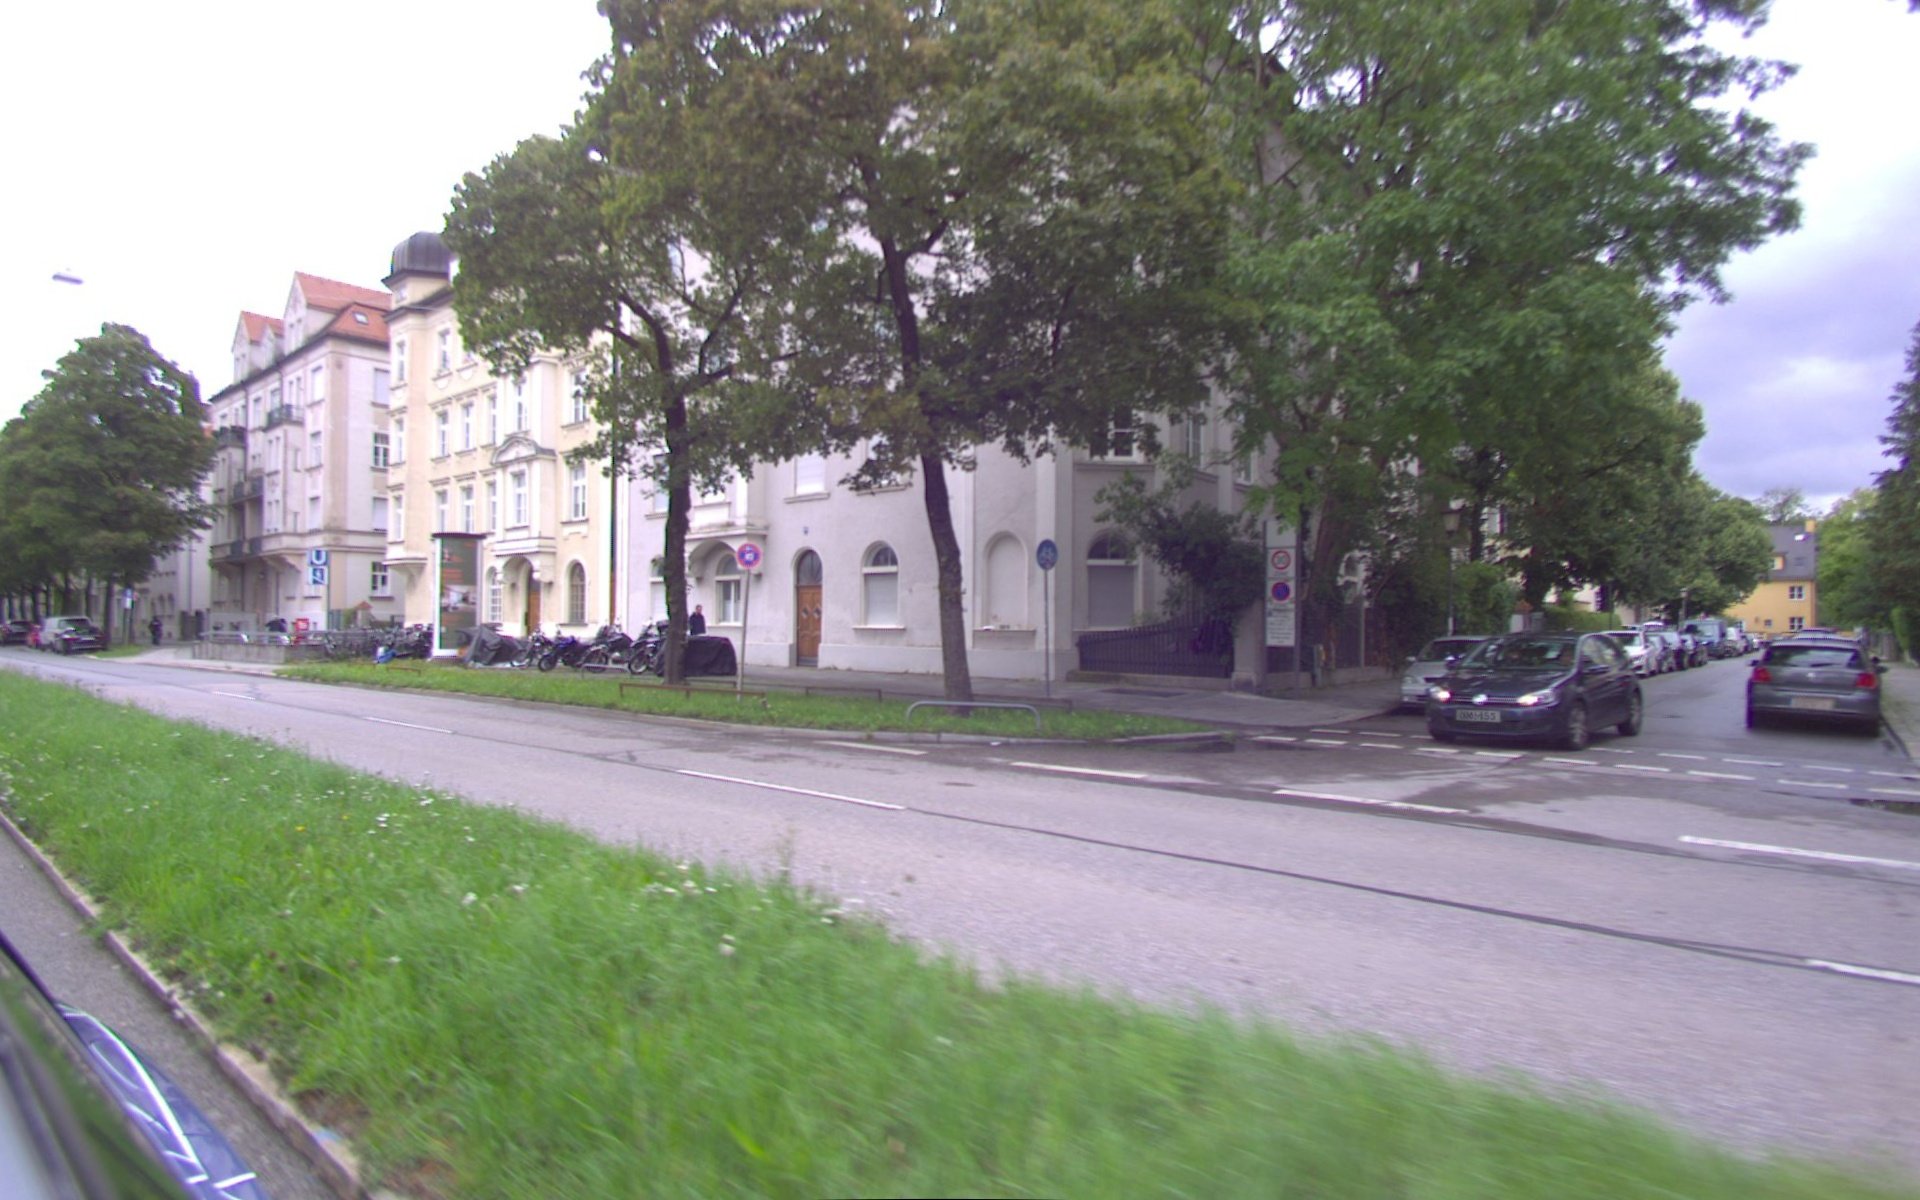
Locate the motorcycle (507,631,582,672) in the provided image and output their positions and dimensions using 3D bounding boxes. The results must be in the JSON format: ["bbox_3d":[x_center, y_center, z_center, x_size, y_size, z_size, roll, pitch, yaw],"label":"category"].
[{"bbox_3d":[-11.926,1.472,29.077,1.926,1.158,0.597,0,-1,-11],"label":"motorcycle"}]

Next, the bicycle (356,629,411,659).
[{"bbox_3d":[-23.352,1.780,41.048,1.924,1.158,0.598,0,-2,-29],"label":"bicycle"}]

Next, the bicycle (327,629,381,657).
[{"bbox_3d":[-25.497,1.804,42.596,1.924,1.158,0.598,0,-2,-29],"label":"bicycle"}]

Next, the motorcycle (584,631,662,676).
[{"bbox_3d":[-9.121,1.440,27.450,1.926,1.158,0.597,0,-1,-11],"label":"motorcycle"}]

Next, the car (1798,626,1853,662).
[{"bbox_3d":[37.272,1.872,43.645,1.653,1.461,3.481,-1,-2,39],"label":"car"}]

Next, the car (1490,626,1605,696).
[{"bbox_3d":[14.177,1.394,24.337,1.793,1.496,3.947,-1,-2,39],"label":"car"}]

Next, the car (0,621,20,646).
[{"bbox_3d":[-72.662,2.549,76.570,3.998,1.852,1.848,-1,-2,41],"label":"car"}]

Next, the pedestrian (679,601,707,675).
[{"bbox_3d":[-7.693,1.085,29.152,0.590,2.075,0.686,1,-2,-30],"label":"pedestrian"}]

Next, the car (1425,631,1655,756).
[{"bbox_3d":[7.917,1.143,13.660,1.861,1.386,3.944,-3,-3,42],"label":"car"}]

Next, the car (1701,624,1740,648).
[{"bbox_3d":[48.566,2.259,64.604,1.793,1.496,3.947,-1,-2,39],"label":"car"}]

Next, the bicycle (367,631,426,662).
[{"bbox_3d":[-21.509,1.763,38.659,1.924,1.158,0.598,0,-2,-29],"label":"bicycle"}]

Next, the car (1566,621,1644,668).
[{"bbox_3d":[22.337,1.491,34.988,1.793,1.496,3.947,-1,-2,39],"label":"car"}]

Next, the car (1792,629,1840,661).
[{"bbox_3d":[40.804,2.113,48.304,1.653,1.461,3.481,-1,-2,39],"label":"car"}]

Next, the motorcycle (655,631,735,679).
[{"bbox_3d":[-6.653,1.380,25.477,1.926,1.158,0.597,0,-1,-11],"label":"motorcycle"}]

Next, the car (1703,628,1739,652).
[{"bbox_3d":[51.295,2.682,68.170,1.793,1.496,3.947,-1,-2,39],"label":"car"}]

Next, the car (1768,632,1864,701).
[{"bbox_3d":[20.188,1.511,23.954,1.612,1.461,3.481,-1,-2,39],"label":"car"}]

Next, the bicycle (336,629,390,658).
[{"bbox_3d":[-24.819,1.799,42.102,1.924,1.158,0.598,0,-2,-29],"label":"bicycle"}]

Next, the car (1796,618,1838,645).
[{"bbox_3d":[46.626,1.700,55.111,1.653,1.461,3.481,-1,-2,39],"label":"car"}]

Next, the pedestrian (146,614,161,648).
[{"bbox_3d":[-47.948,1.838,60.161,0.631,2.058,0.739,1,-2,-38],"label":"pedestrian"}]

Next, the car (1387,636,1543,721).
[{"bbox_3d":[9.515,1.379,18.930,1.793,1.332,3.947,-1,-2,39],"label":"car"}]

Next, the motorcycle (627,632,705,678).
[{"bbox_3d":[-7.687,1.425,26.533,1.926,1.158,0.597,0,-1,-11],"label":"motorcycle"}]

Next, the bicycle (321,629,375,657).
[{"bbox_3d":[-26.098,1.813,43.192,1.924,1.158,0.598,0,-2,-29],"label":"bicycle"}]

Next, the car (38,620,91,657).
[{"bbox_3d":[-51.121,2.154,57.745,3.998,2.029,1.767,-1,-2,41],"label":"car"}]

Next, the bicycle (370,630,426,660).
[{"bbox_3d":[-22.151,1.765,39.913,1.924,1.158,0.598,0,-2,-29],"label":"bicycle"}]

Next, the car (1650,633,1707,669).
[{"bbox_3d":[31.753,2.217,44.674,1.793,1.496,3.947,-1,-2,39],"label":"car"}]

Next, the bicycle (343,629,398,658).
[{"bbox_3d":[-24.206,1.787,41.559,1.924,1.158,0.598,0,-2,-29],"label":"bicycle"}]

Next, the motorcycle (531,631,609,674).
[{"bbox_3d":[-10.828,1.460,28.144,1.926,1.158,0.597,0,-1,-11],"label":"motorcycle"}]

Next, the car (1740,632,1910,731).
[{"bbox_3d":[14.016,1.232,16.534,1.910,1.382,3.660,-1,-2,39],"label":"car"}]

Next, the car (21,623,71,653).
[{"bbox_3d":[-57.632,2.366,63.805,3.998,1.852,1.848,-1,-2,41],"label":"car"}]

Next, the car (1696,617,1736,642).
[{"bbox_3d":[45.614,1.763,61.039,1.793,1.496,3.947,-1,-2,39],"label":"car"}]

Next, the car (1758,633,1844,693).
[{"bbox_3d":[22.558,1.627,27.210,1.653,1.461,3.481,-1,-2,39],"label":"car"}]

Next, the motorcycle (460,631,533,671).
[{"bbox_3d":[-13.740,1.496,30.033,1.924,1.158,0.598,0,-2,-29],"label":"motorcycle"}]

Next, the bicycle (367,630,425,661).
[{"bbox_3d":[-21.877,1.765,39.276,1.924,1.158,0.598,0,-2,-29],"label":"bicycle"}]

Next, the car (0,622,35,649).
[{"bbox_3d":[-66.125,2.474,70.675,3.998,1.852,1.848,-1,-2,41],"label":"car"}]

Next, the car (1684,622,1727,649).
[{"bbox_3d":[42.636,1.988,57.865,1.793,1.496,3.947,-1,-2,39],"label":"car"}]
